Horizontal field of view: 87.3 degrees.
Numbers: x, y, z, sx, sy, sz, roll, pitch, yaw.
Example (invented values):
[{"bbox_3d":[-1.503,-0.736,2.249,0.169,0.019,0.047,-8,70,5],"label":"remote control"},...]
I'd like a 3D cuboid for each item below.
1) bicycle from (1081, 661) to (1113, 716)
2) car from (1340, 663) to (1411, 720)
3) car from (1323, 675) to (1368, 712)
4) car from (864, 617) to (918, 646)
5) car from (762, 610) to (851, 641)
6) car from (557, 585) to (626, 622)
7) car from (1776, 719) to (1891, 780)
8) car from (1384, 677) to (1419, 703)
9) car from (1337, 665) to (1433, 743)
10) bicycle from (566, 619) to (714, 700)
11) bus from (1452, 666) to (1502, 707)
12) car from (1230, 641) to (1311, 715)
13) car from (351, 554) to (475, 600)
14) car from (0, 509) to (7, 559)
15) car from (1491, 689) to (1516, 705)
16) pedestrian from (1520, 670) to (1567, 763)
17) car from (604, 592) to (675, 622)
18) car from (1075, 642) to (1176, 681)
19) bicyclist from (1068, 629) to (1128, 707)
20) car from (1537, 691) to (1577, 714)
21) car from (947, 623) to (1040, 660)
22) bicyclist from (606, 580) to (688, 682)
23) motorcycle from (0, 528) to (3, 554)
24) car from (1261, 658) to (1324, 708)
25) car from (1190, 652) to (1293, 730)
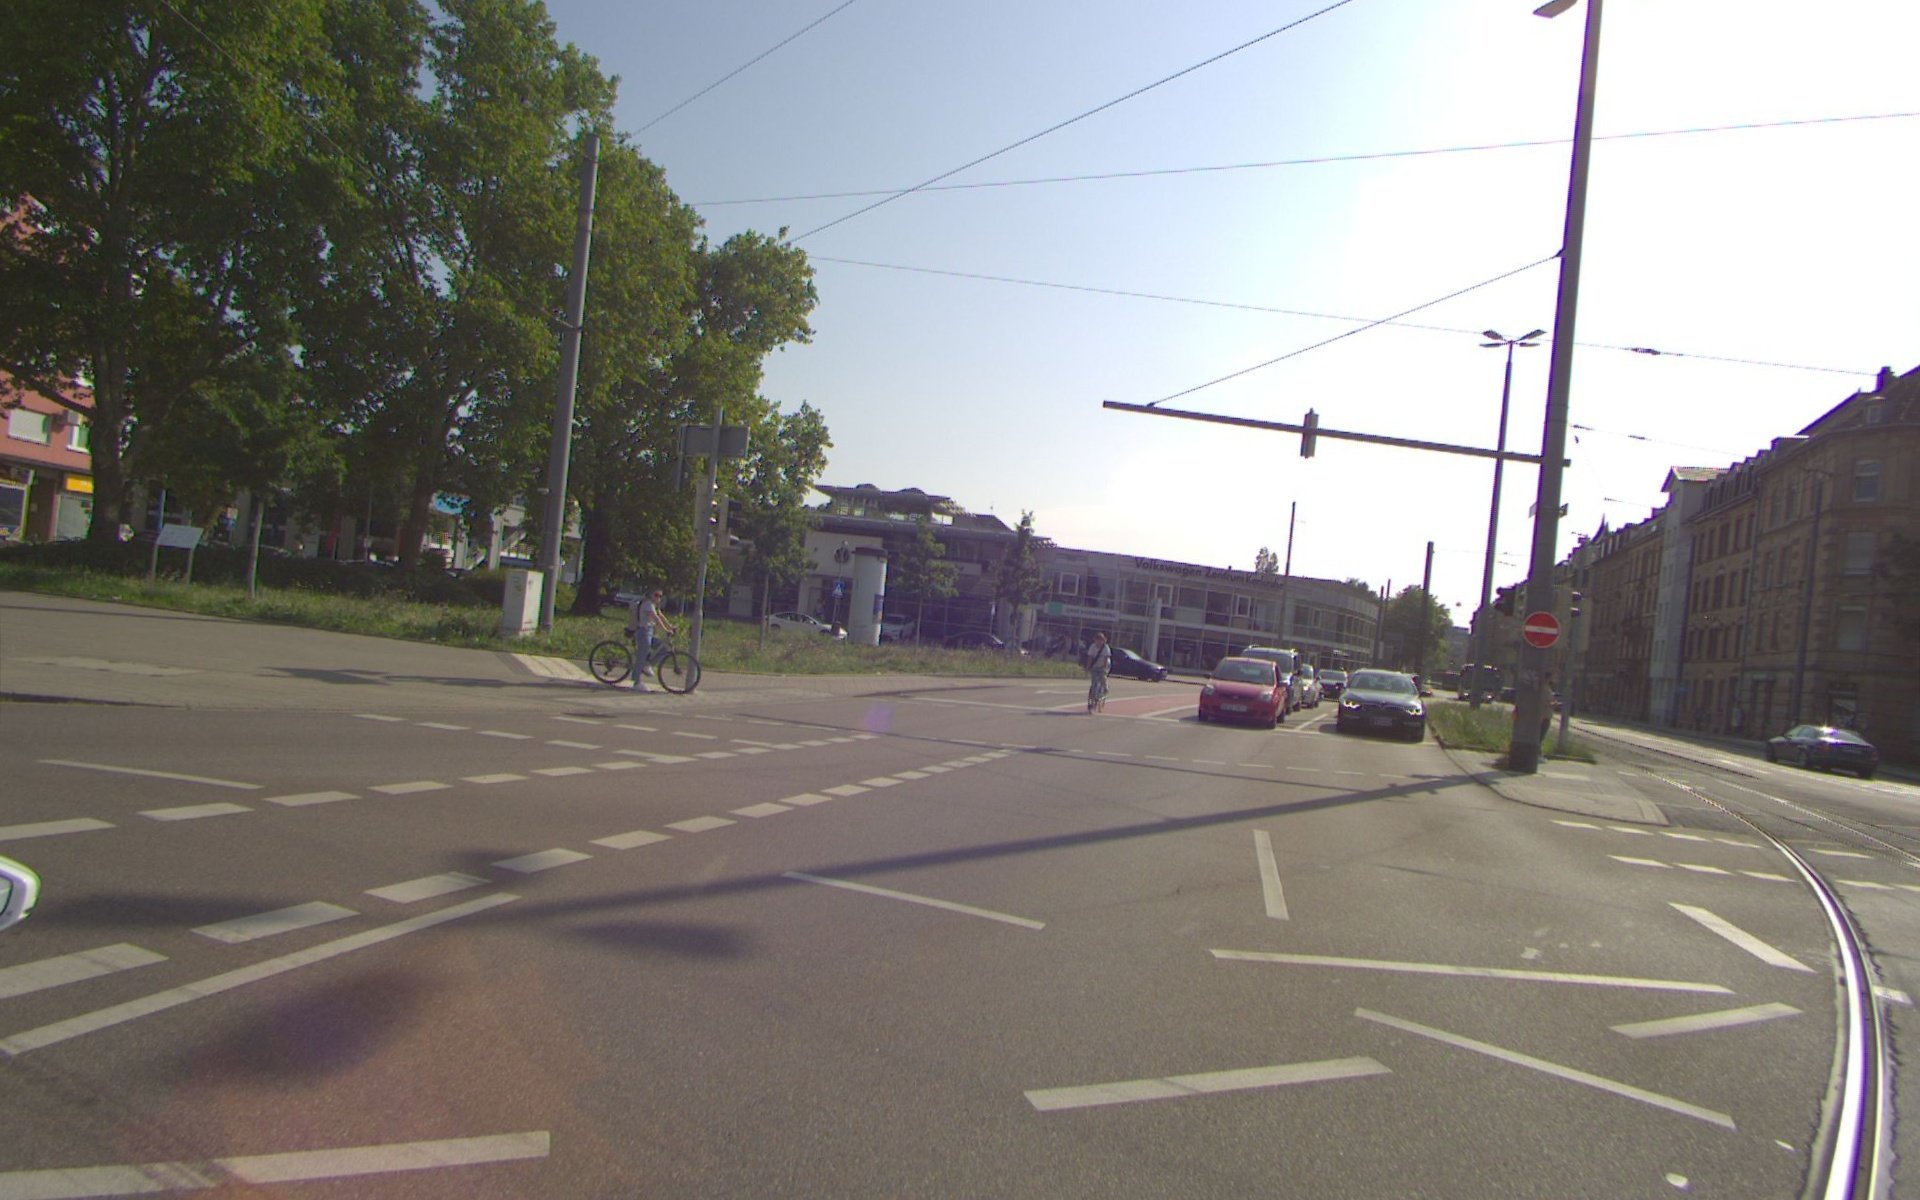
[{"bbox_3d":[2.880,1.855,21.325,0.519,1.001,2.199,5,-1,6],"label":"bicycle"},{"bbox_3d":[12.727,2.773,30.941,1.770,1.452,3.557,6,-1,22],"label":"car"},{"bbox_3d":[18.102,4.334,47.173,1.770,1.432,4.000,6,-1,22],"label":"car"},{"bbox_3d":[-4.340,2.049,63.850,1.962,1.479,4.328,6,-2,16],"label":"car"},{"bbox_3d":[-8.259,1.383,54.307,4.314,1.179,2.002,6,-1,7],"label":"car"},{"bbox_3d":[-25.499,0.234,69.677,3.924,2.037,1.948,6,-1,17],"label":"car"},{"bbox_3d":[28.105,4.756,32.509,1.710,1.478,3.838,6,-1,26],"label":"car"},{"bbox_3d":[28.948,5.872,66.037,1.770,1.432,4.000,6,-1,22],"label":"car"},{"bbox_3d":[9.981,2.376,23.786,1.770,1.469,4.351,6,-1,22],"label":"car"},{"bbox_3d":[-4.922,0.904,15.486,2.036,0.904,0.568,9,0,10],"label":"bicycle"},{"bbox_3d":[44.997,7.453,87.826,2.846,3.019,11.494,6,-1,24],"label":"bus"},{"bbox_3d":[9.327,2.294,29.932,1.770,1.849,4.773,6,-1,22],"label":"car"},{"bbox_3d":[-22.432,-0.917,41.404,3.933,1.392,1.997,7,-1,-10],"label":"car"},{"bbox_3d":[-33.448,-2.410,32.035,3.931,1.664,1.998,7,-1,-8],"label":"car"},{"bbox_3d":[56.306,10.059,104.328,1.709,1.365,3.781,6,-1,22],"label":"car"},{"bbox_3d":[11.568,2.291,19.947,0.516,1.751,0.598,6,0,17],"label":"pedestrian"},{"bbox_3d":[-21.348,0.480,67.156,1.968,1.479,4.052,6,-2,34],"label":"car"},{"bbox_3d":[8.030,2.987,48.949,4.328,1.386,1.995,6,-1,34],"label":"car"},{"bbox_3d":[2.899,1.410,21.208,1.067,1.493,0.972,6,0,6],"label":"bicyclist"},{"bbox_3d":[44.558,7.602,75.136,1.708,1.365,3.782,6,-1,19],"label":"car"},{"bbox_3d":[1.756,2.135,52.043,4.315,1.386,2.001,6,-1,16],"label":"car"},{"bbox_3d":[-4.809,0.483,15.485,0.804,1.444,0.731,7,-1,10],"label":"bicyclist"},{"bbox_3d":[-24.599,-1.389,24.517,1.919,1.014,0.706,6,0,7],"label":"motorcycle"},{"bbox_3d":[11.710,2.890,35.265,1.770,1.458,3.631,6,-1,22],"label":"car"},{"bbox_3d":[6.596,2.052,23.277,1.770,1.432,4.000,6,-1,22],"label":"car"}]
